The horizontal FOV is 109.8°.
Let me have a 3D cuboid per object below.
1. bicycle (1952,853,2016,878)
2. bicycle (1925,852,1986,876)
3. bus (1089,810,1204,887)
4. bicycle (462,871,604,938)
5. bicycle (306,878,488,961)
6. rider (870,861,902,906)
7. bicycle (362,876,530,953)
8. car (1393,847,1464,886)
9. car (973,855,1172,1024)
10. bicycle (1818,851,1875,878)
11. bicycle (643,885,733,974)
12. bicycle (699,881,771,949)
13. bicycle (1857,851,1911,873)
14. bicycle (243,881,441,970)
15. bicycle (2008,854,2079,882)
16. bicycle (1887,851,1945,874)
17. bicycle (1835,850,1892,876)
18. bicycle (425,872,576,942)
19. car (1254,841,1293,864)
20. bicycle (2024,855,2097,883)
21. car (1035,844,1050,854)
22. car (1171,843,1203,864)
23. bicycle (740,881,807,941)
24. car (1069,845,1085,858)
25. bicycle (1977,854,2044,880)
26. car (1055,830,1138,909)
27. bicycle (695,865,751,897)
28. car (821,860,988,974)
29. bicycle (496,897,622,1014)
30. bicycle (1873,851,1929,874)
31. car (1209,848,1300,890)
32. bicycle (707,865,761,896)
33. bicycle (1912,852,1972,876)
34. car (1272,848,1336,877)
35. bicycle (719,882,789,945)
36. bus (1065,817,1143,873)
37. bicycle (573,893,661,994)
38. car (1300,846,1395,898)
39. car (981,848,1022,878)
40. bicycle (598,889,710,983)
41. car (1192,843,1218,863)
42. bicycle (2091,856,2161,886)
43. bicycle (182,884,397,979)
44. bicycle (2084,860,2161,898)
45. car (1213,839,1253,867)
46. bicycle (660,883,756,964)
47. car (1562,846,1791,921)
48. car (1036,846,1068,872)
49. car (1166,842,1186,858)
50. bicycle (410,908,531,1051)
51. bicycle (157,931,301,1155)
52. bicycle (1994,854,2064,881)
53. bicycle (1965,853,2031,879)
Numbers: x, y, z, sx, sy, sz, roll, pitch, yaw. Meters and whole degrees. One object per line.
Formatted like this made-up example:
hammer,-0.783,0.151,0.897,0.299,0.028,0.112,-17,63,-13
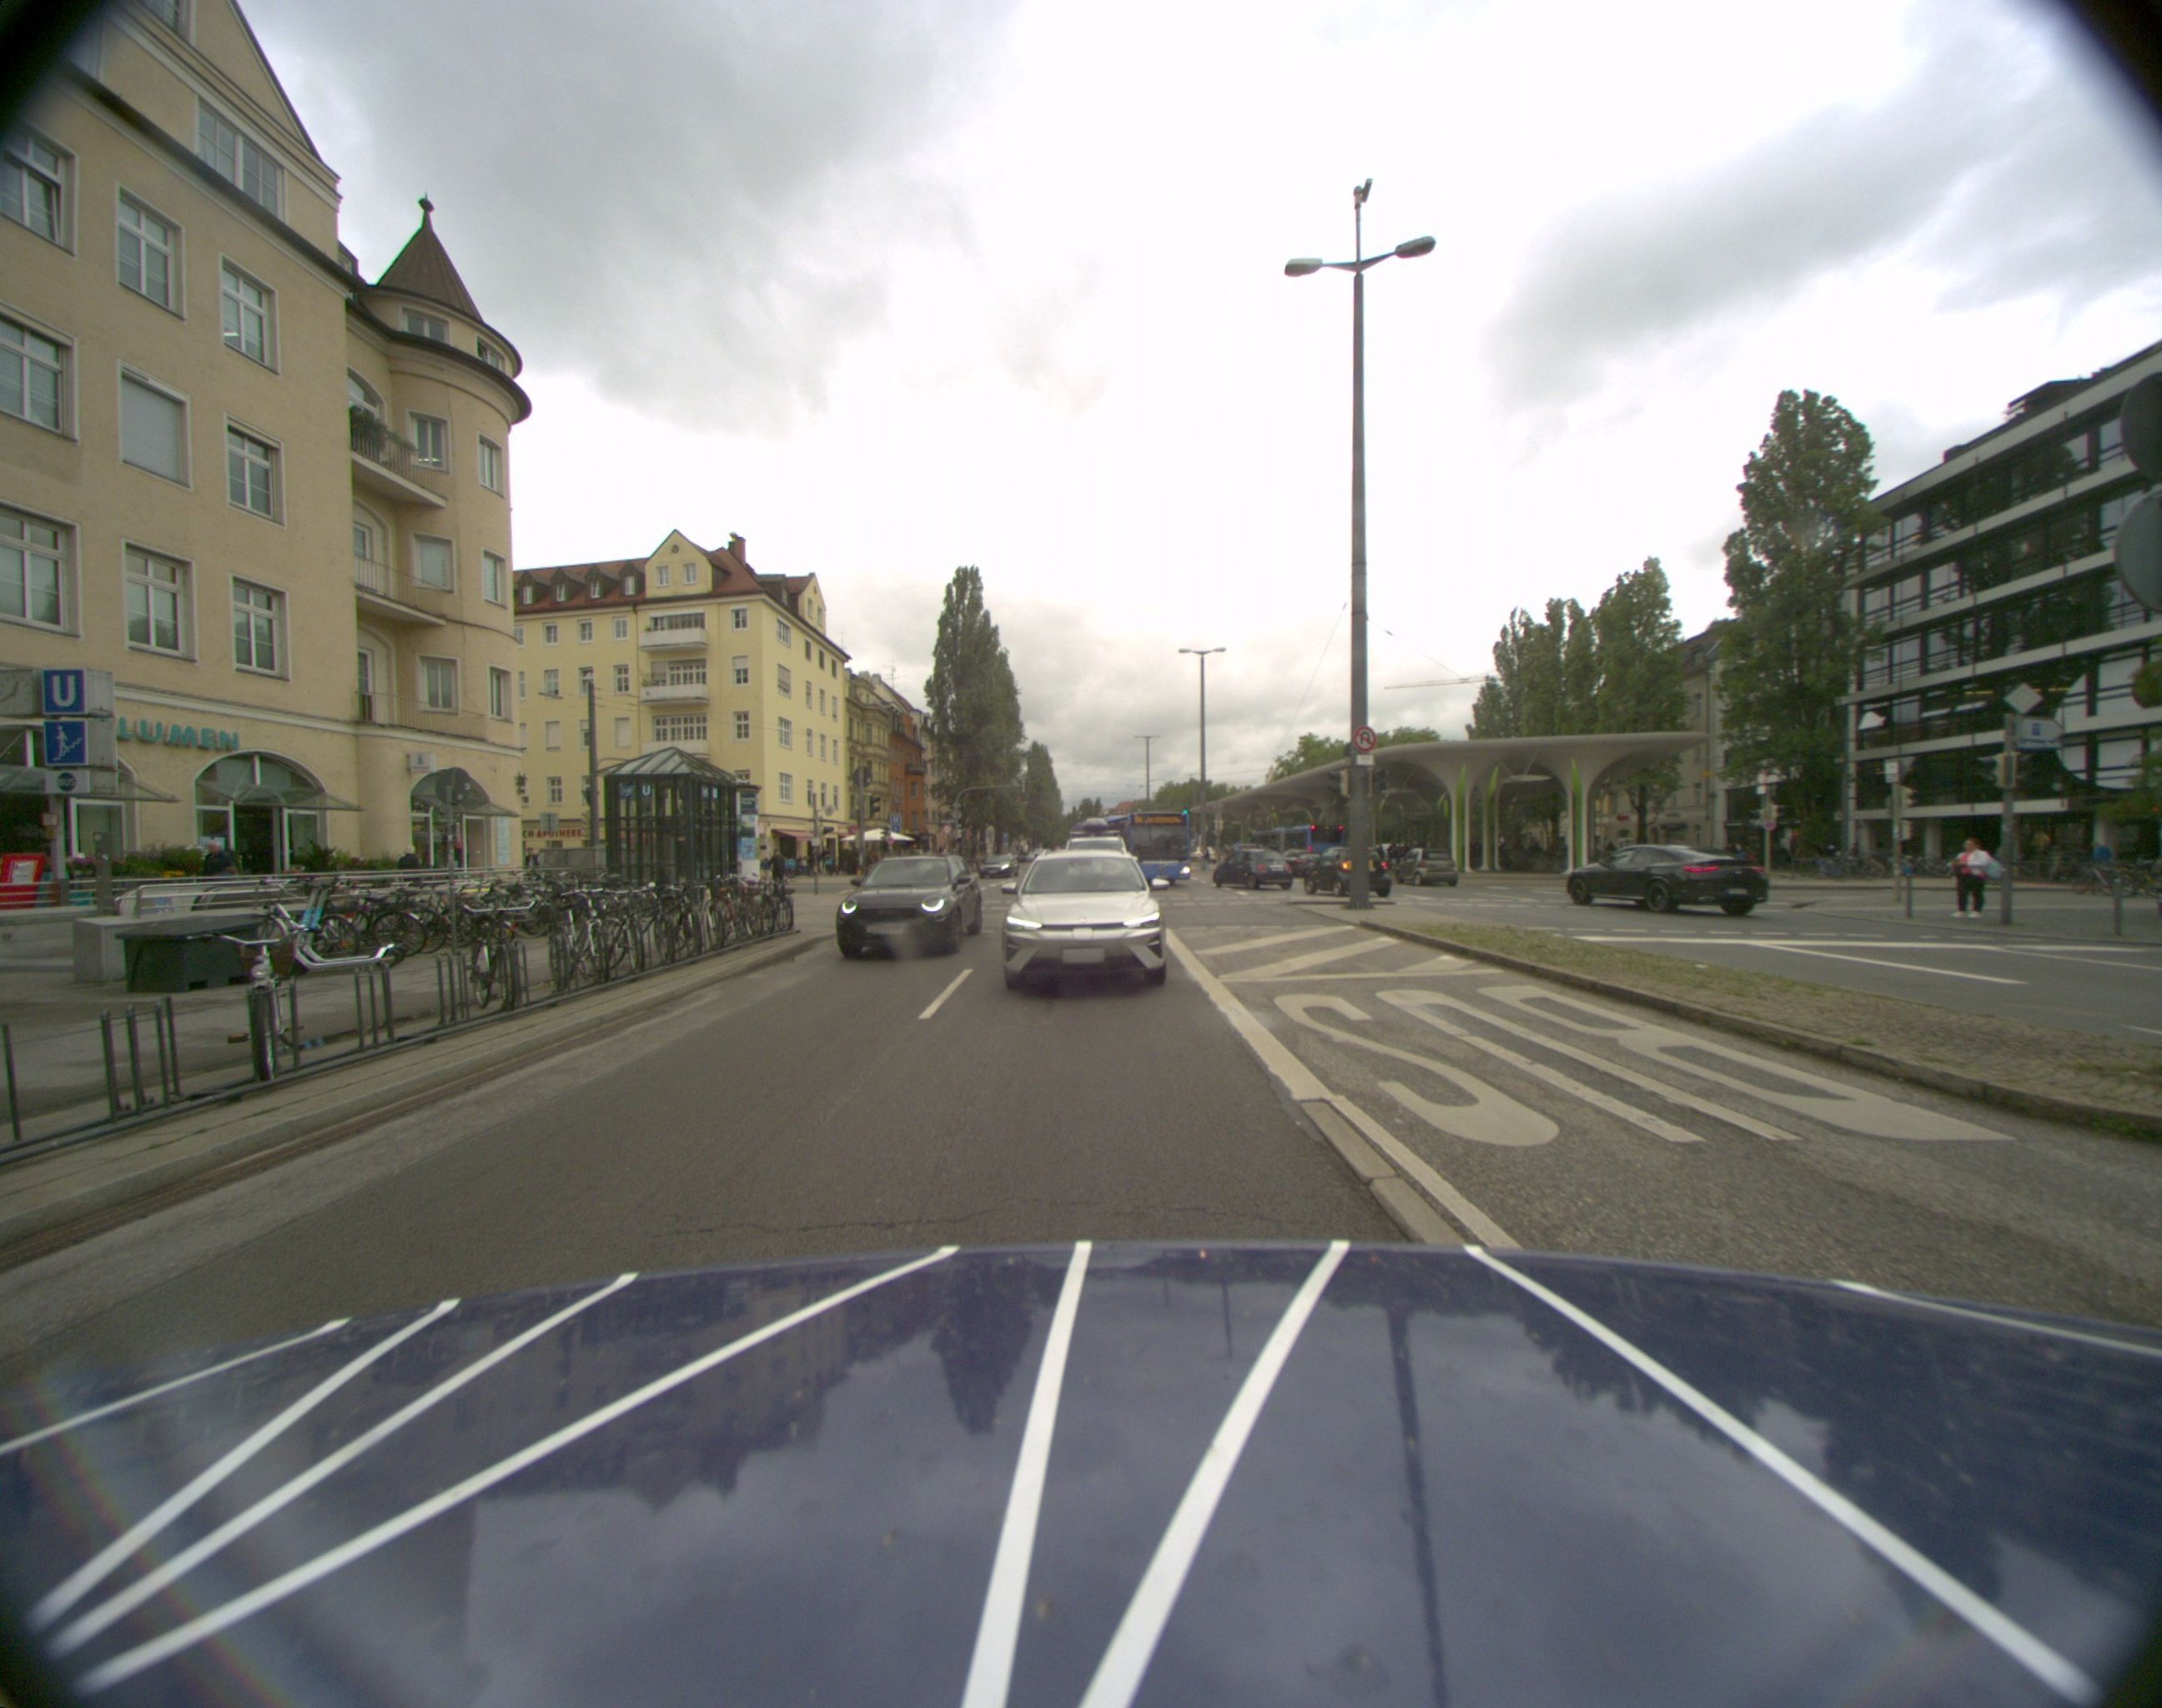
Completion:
bicycle,41.425,0.522,34.864,2.073,1.127,0.561,0,1,7
bicycle,41.545,0.490,36.113,2.073,1.127,0.561,0,1,7
bus,2.622,-0.328,35.047,2.943,2.927,11.204,-2,1,-7
bicycle,-10.544,0.964,14.641,2.317,1.220,0.628,-1,1,4
bicycle,-10.614,1.012,11.822,2.317,1.220,0.628,-1,1,4
rider,-5.556,0.822,21.679,0.732,1.234,0.732,1,2,-2
bicycle,-10.639,1.001,12.758,2.342,1.220,0.628,-1,1,4
car,14.413,0.491,31.628,1.674,1.506,2.746,-1,1,-1
car,-0.014,0.847,9.416,1.896,1.483,3.999,-2,1,2
bicycle,32.919,0.435,32.703,0.473,1.091,1.672,-1,1,-23
bicycle,-5.592,1.030,10.769,1.673,1.131,0.479,-1,2,40
bicycle,-5.889,1.032,12.886,1.848,1.053,0.398,-5,-1,44
bicycle,41.753,0.404,39.523,2.073,1.127,0.561,0,1,7
bicycle,-10.772,1.034,11.110,2.342,1.220,0.628,-1,1,4
bicycle,40.979,0.596,32.364,2.073,1.127,0.561,0,1,7
bicycle,41.699,0.442,37.946,2.073,1.127,0.561,0,1,7
bicycle,34.223,0.371,33.256,0.473,1.091,1.672,-1,1,-23
bicycle,-10.583,0.964,13.886,2.330,1.220,0.628,-1,1,4
car,14.125,-0.125,55.953,1.932,1.576,4.000,-1,1,1
bicycle,40.920,0.612,31.764,2.073,1.127,0.561,0,1,7
car,-6.109,-0.826,120.122,1.998,1.630,4.000,-1,1,1
car,7.935,-0.064,56.944,1.922,1.461,3.999,-2,1,2
bicycle,-5.855,1.092,14.416,1.848,1.053,0.398,-5,-1,44
car,-0.568,-0.332,100.348,1.999,1.630,3.999,-1,1,-1
bicycle,41.158,0.560,33.666,2.073,1.127,0.561,0,1,7
car,0.441,0.341,20.960,1.998,1.889,4.235,-2,1,1
bicycle,-12.869,0.980,27.314,1.822,1.121,0.610,0,0,13
car,-2.706,0.898,12.622,1.740,1.462,4.050,-1,1,1
bicycle,-5.916,1.093,8.580,1.790,1.131,0.591,-1,2,37
bicycle,41.725,0.424,38.683,2.073,1.127,0.561,0,1,7
car,6.435,0.503,28.523,1.630,1.471,3.381,0,0,-24
bicycle,-12.765,0.961,27.961,1.822,1.121,0.610,0,0,13
bicycle,41.594,0.474,36.717,2.073,1.127,0.561,0,1,7
car,11.570,0.400,39.808,1.999,1.408,4.614,-1,1,0
bicycle,-5.922,1.078,13.710,1.848,1.053,0.398,-5,-1,44
bus,1.143,-0.573,46.152,2.943,2.927,11.204,-2,1,-7
bicycle,-5.740,1.068,9.375,1.521,1.131,0.349,-1,2,37
car,8.277,0.511,23.806,1.562,1.498,2.785,-1,1,-12
car,-4.731,0.483,45.711,1.854,1.615,3.999,-2,1,1
bicycle,-5.646,1.049,10.027,1.674,1.131,0.479,-1,2,31
car,11.041,-0.103,67.849,1.760,1.674,3.999,-2,1,2
bicycle,40.737,0.671,29.484,2.073,1.127,0.561,0,1,7
bicycle,-10.834,1.052,10.432,2.367,1.220,0.628,-1,1,4
bicycle,29.510,0.671,21.210,0.510,0.992,1.925,-1,1,2
car,10.319,-0.104,51.814,1.998,1.762,4.306,1,1,2
bicycle,-5.699,1.016,11.565,1.780,1.131,0.479,-1,2,35
car,13.945,0.596,18.248,1.998,1.567,4.616,0,1,2
car,-2.101,0.363,55.921,1.998,1.740,3.999,-2,1,1
car,10.587,-0.465,84.996,1.847,1.674,3.999,-2,1,2
bicycle,-5.835,1.120,7.221,1.790,1.131,0.490,-1,2,39
bicycle,-5.692,1.161,5.147,0.490,1.131,1.790,-3,2,-45
bicycle,41.106,0.578,32.958,2.073,1.127,0.561,0,1,7
bicycle,41.338,0.540,34.253,2.073,1.127,0.561,0,1,7
